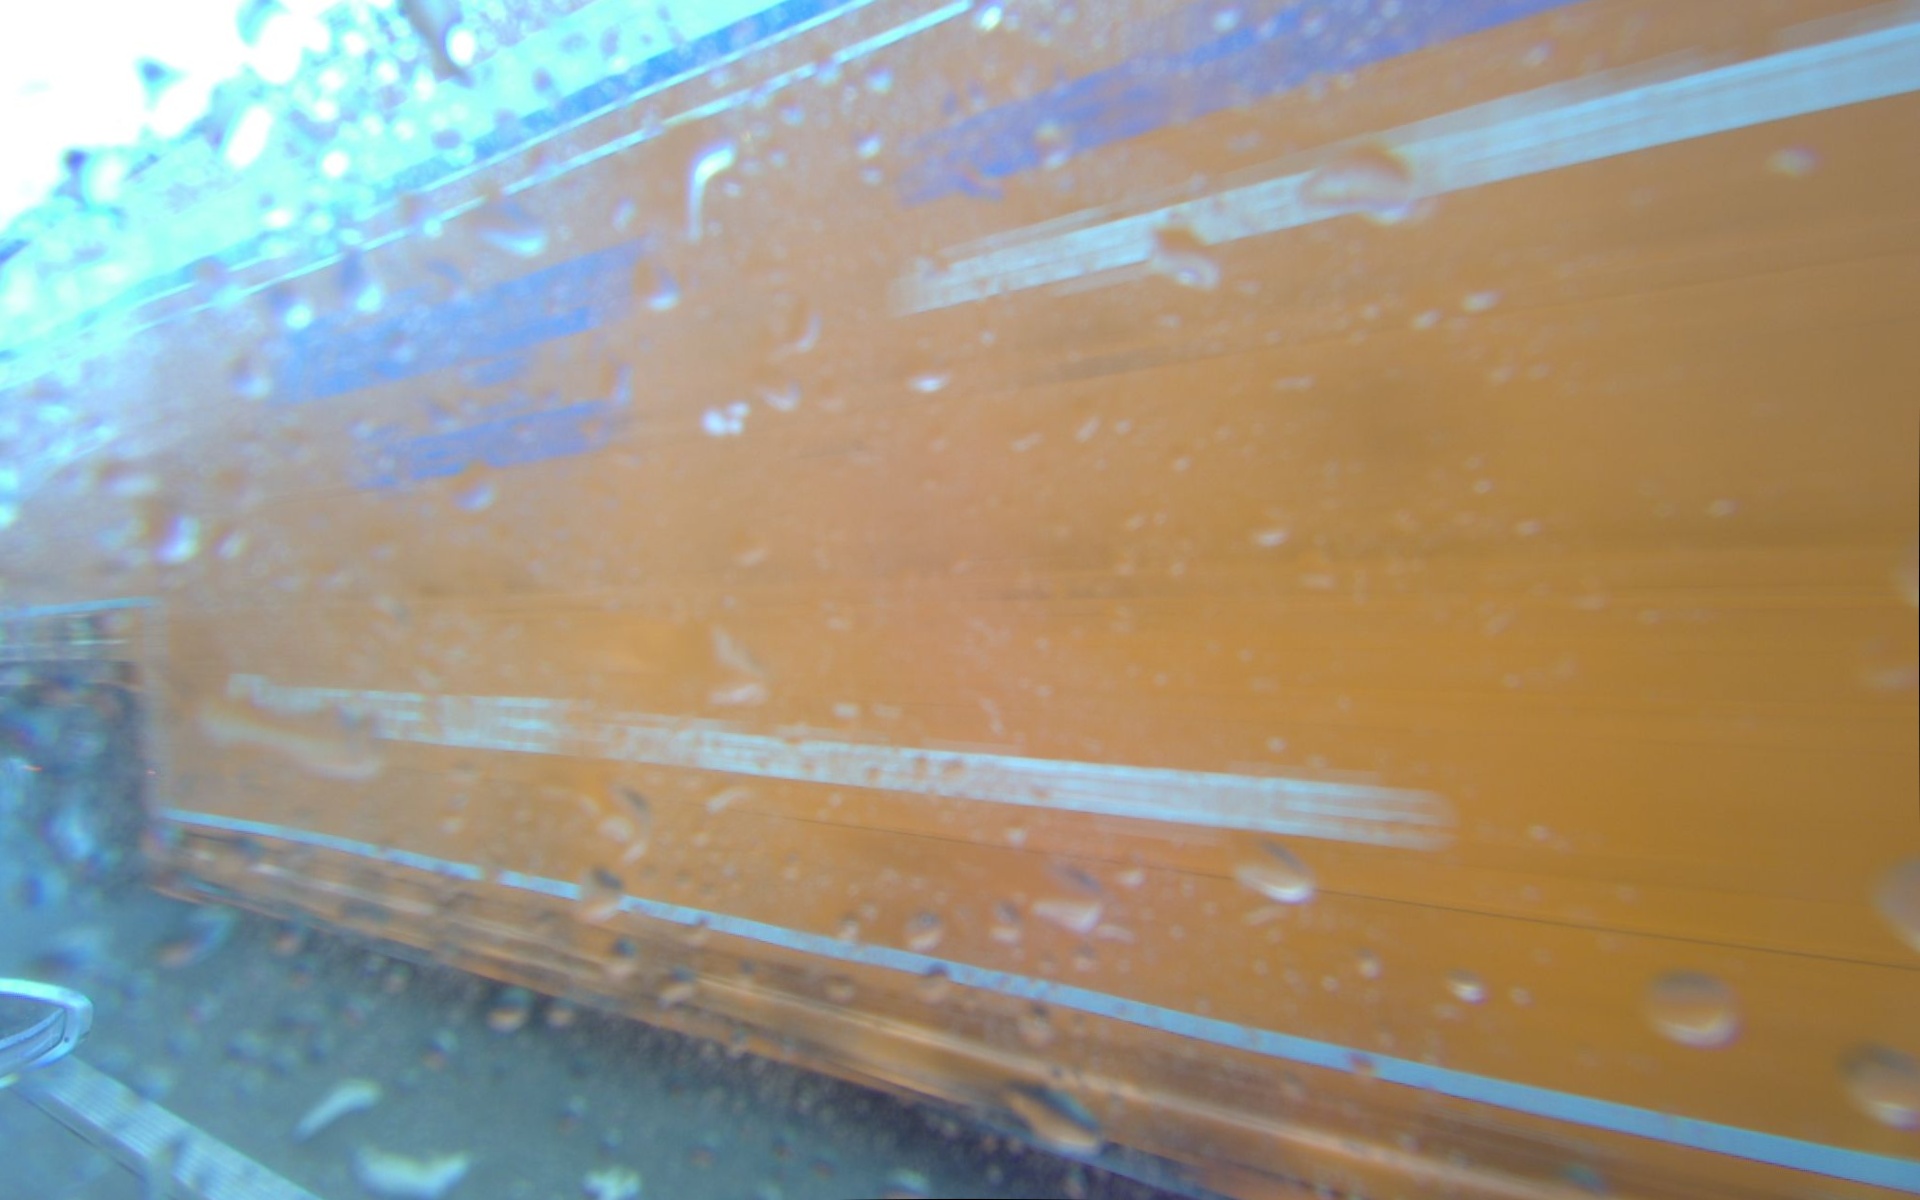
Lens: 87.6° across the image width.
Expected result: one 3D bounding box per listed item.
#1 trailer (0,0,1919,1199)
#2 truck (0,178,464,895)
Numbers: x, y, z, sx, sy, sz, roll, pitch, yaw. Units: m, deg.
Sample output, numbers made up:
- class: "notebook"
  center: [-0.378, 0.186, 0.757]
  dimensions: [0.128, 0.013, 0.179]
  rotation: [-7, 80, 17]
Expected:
- class: "trailer"
  center: [-0.750, -0.445, 4.411]
  dimensions: [12.820, 4.210, 2.790]
  rotation: [-1, -2, 32]
- class: "truck"
  center: [-7.020, -0.280, 8.384]
  dimensions: [5.359, 4.140, 2.755]
  rotation: [-1, -2, 32]
